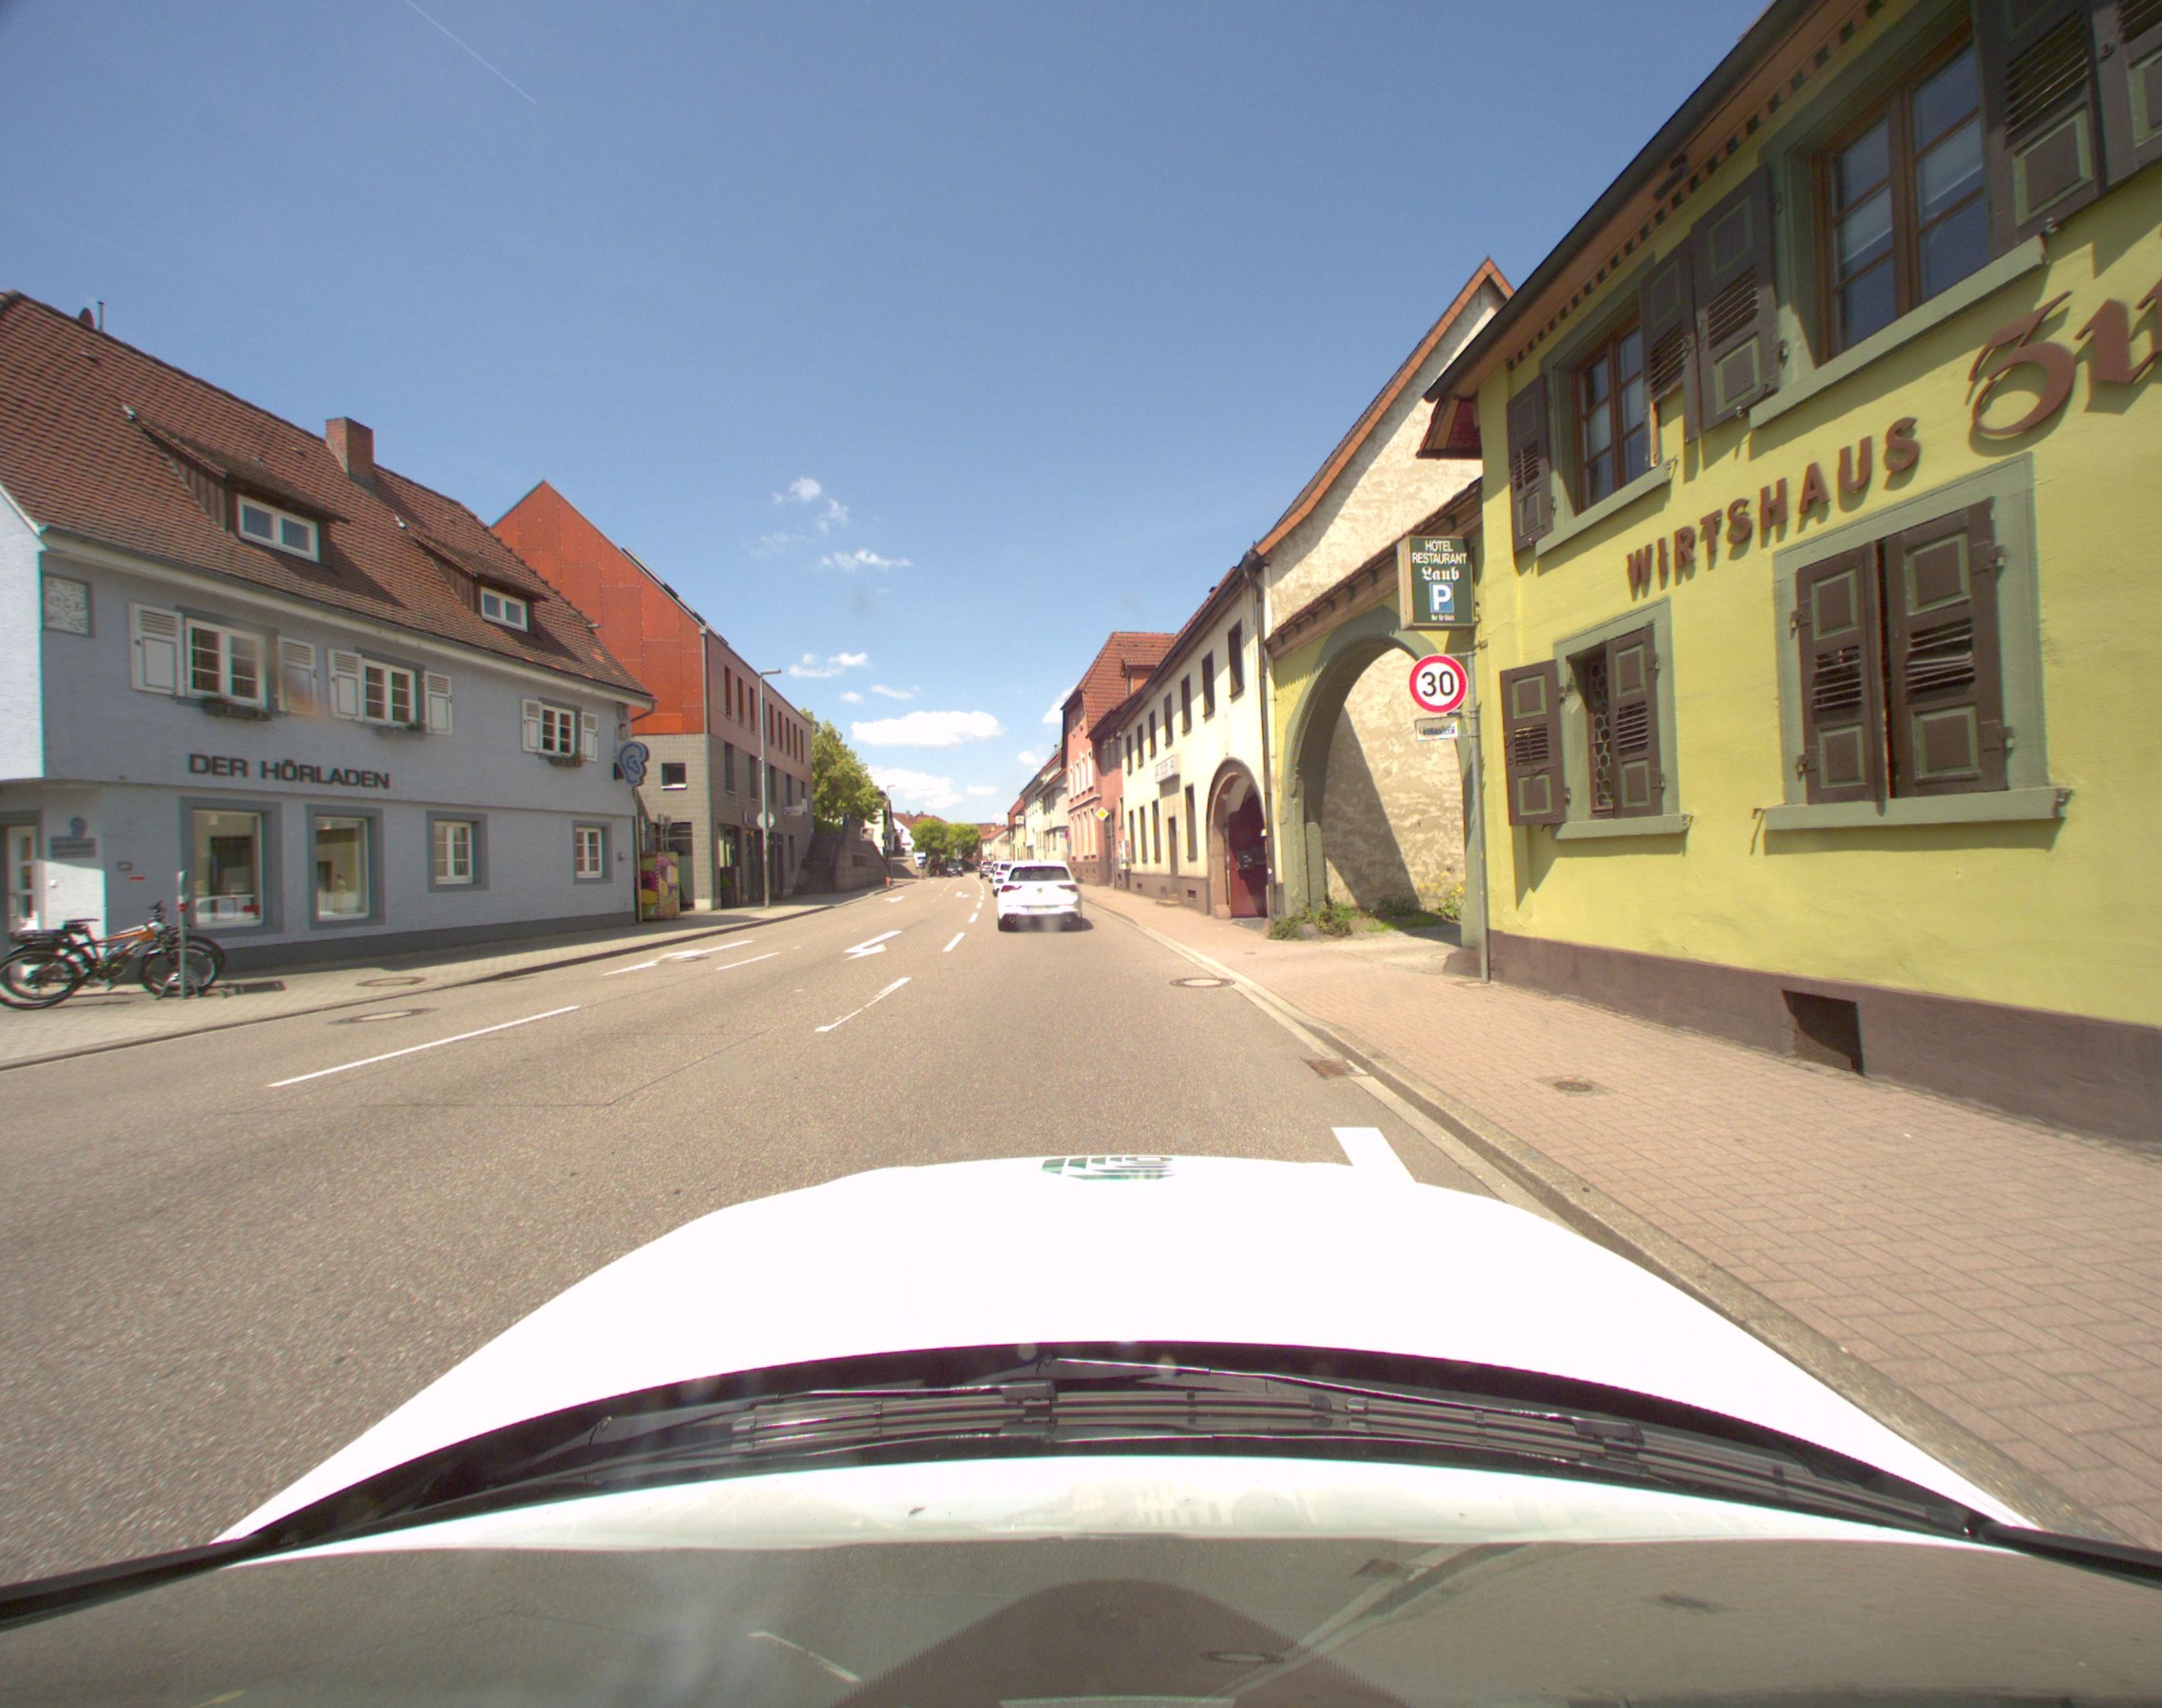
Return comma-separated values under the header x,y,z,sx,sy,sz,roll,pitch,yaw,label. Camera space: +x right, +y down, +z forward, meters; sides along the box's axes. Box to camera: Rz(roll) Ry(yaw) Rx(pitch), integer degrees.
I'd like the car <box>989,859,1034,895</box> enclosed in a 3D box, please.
x,y,z,sx,sy,sz,roll,pitch,yaw,label
-2.944,0.962,34.821,1.804,1.468,3.993,0,-1,-4,car

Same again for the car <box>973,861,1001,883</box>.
x,y,z,sx,sy,sz,roll,pitch,yaw,label
-6.647,1.256,57.258,1.807,1.468,3.987,0,-1,-9,car

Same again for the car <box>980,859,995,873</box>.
x,y,z,sx,sy,sz,roll,pitch,yaw,label
-12.319,1.560,107.048,1.774,1.765,3.990,-2,0,-7,car

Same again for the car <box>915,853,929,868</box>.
x,y,z,sx,sy,sz,roll,pitch,yaw,label
-20.941,0.860,107.293,1.693,1.542,3.845,-2,5,-9,car

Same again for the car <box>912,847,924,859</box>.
x,y,z,sx,sy,sz,roll,pitch,yaw,label
-23.764,-0.165,118.824,1.576,1.361,3.845,-2,5,-9,car

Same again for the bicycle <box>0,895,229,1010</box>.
x,y,z,sx,sy,sz,roll,pitch,yaw,label
-12.125,1.191,10.292,1.841,1.249,0.571,1,1,-44,bicycle

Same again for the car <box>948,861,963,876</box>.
x,y,z,sx,sy,sz,roll,pitch,yaw,label
-14.949,1.690,97.289,1.669,1.657,4.005,-2,0,-8,car

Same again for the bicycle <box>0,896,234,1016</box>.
x,y,z,sx,sy,sz,roll,pitch,yaw,label
-11.633,1.177,9.875,1.841,1.249,0.571,1,1,-44,bicycle

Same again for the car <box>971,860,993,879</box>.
x,y,z,sx,sy,sz,roll,pitch,yaw,label
-8.736,1.361,72.064,1.773,1.538,3.991,-2,0,-6,car

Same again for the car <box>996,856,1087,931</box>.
x,y,z,sx,sy,sz,roll,pitch,yaw,label
-0.855,0.810,18.114,1.803,1.468,3.996,0,-1,-2,car
